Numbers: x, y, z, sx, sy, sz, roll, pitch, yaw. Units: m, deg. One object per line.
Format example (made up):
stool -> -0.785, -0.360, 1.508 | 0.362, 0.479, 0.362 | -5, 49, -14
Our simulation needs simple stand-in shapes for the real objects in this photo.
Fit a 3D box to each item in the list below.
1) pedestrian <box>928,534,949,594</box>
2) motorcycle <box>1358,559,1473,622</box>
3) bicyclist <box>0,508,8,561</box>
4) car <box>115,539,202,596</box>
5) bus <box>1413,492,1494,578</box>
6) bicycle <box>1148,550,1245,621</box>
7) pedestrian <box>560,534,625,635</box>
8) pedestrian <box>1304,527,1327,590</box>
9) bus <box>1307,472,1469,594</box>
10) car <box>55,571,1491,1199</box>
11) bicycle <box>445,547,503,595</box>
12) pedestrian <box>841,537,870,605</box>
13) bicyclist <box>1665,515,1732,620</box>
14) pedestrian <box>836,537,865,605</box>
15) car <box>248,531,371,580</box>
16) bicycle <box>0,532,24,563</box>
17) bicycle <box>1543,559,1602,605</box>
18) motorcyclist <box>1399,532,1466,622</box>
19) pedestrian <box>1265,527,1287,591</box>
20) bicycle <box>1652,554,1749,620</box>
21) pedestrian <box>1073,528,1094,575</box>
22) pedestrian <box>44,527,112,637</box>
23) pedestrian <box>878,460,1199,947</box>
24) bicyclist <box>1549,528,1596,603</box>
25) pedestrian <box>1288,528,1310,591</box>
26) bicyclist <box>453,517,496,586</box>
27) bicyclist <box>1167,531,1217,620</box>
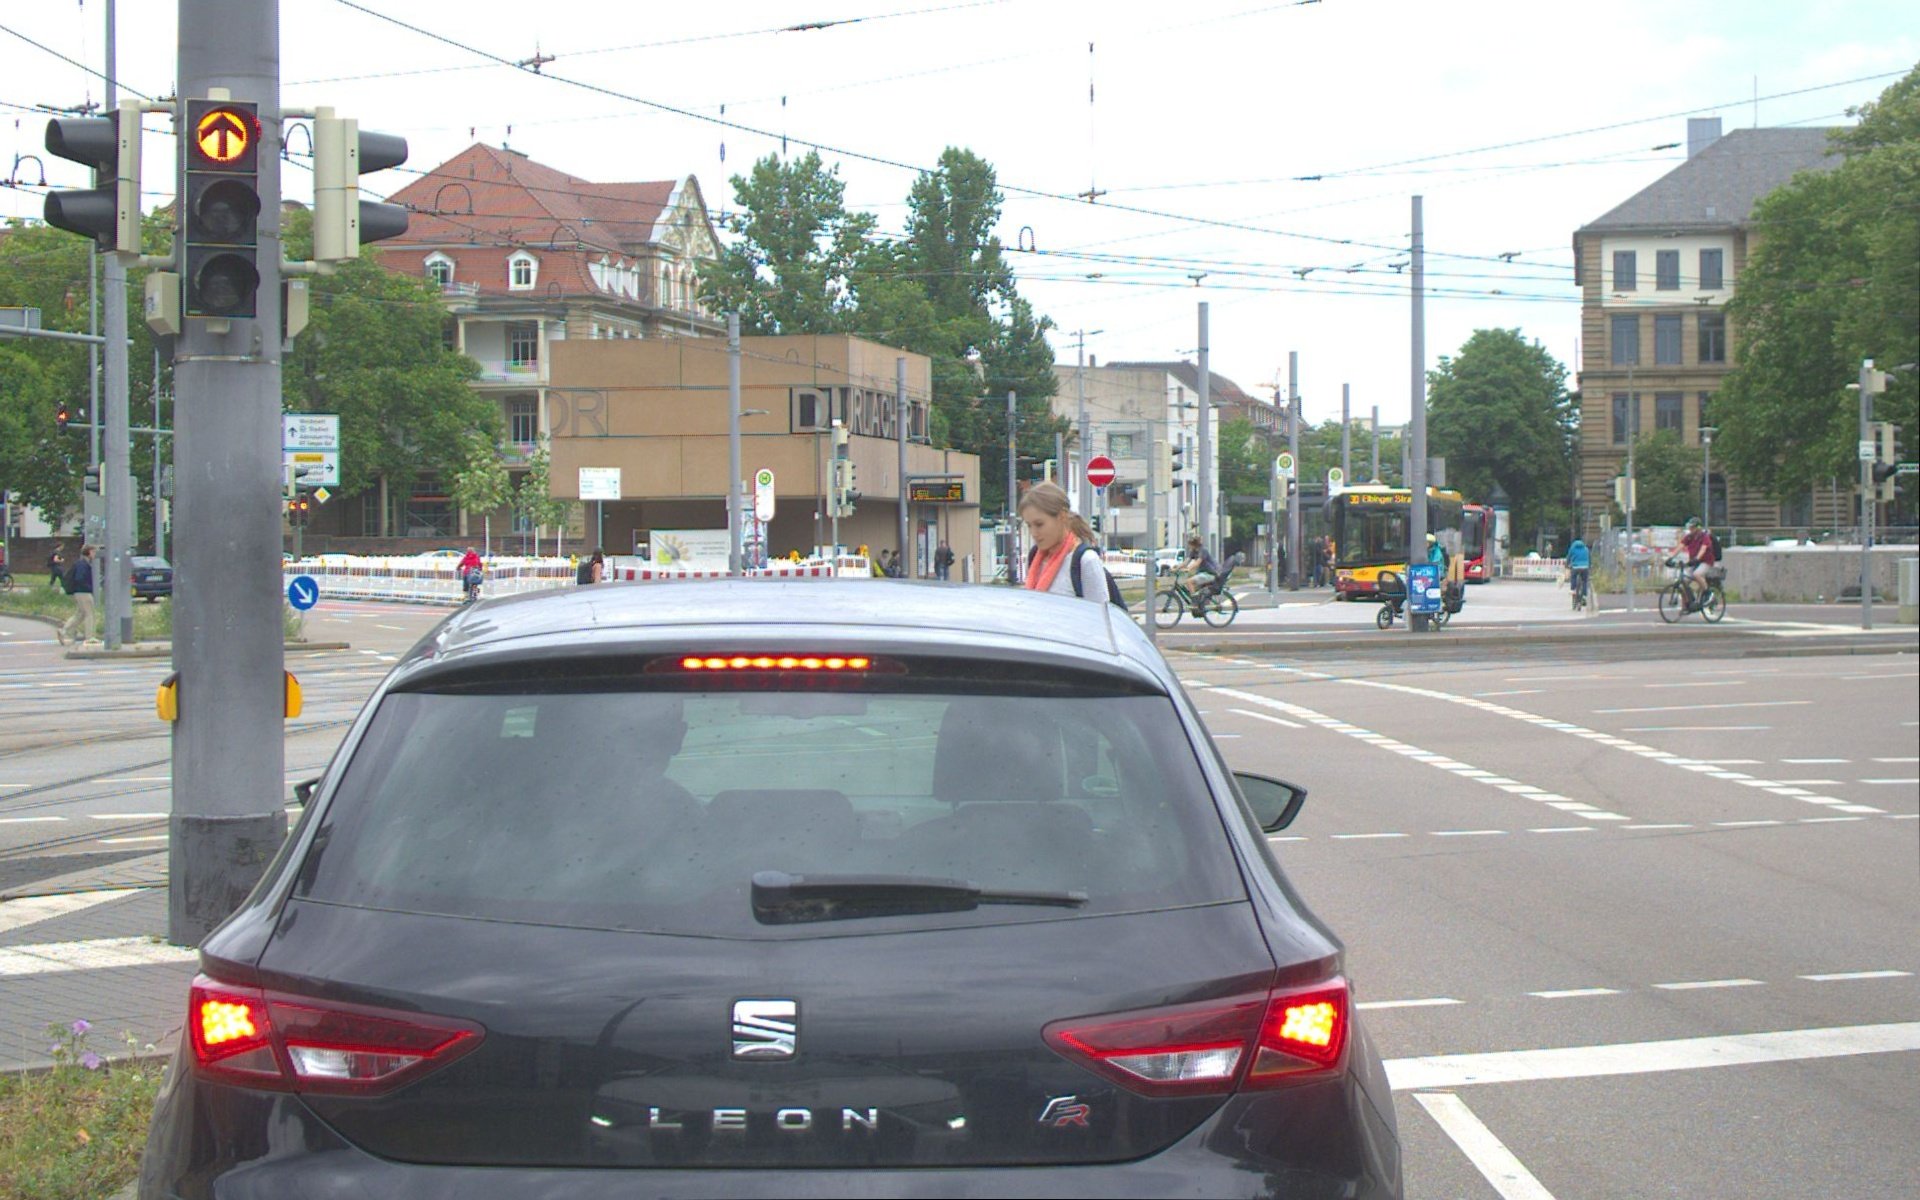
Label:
pedestrian -> -0.690, -1.163, 111.086 | 0.621, 1.911, 0.710 | 0, 1, 3
motorcycle -> 8.414, -0.181, 63.512 | 2.135, 1.135, 0.744 | -1, 1, -33
bicyclist -> -37.201, -2.515, 131.783 | 0.939, 2.007, 0.977 | 0, 1, 28
car -> -24.445, -0.982, 104.764 | 1.993, 1.678, 4.001 | 0, 0, -22
bus -> 19.669, -2.568, 136.661 | 2.655, 3.272, 10.990 | 0, 1, 11
bicycle -> 4.447, -0.275, 64.731 | 1.730, 1.317, 0.645 | 0, 1, -5
pedestrian -> -7.031, -0.303, 65.780 | 0.700, 1.927, 1.028 | 0, 1, 38
pedestrian -> 10.803, -1.256, 104.458 | 0.621, 1.911, 0.698 | 0, 1, 9
bus -> 11.760, -1.807, 93.451 | 2.962, 3.112, 11.531 | 0, 1, 14
car -> -0.357, 0.691, 5.995 | 1.704, 1.444, 3.813 | 0, 1, -4
bicycle -> -12.122, -0.724, 85.715 | 0.891, 1.174, 2.302 | 0, 1, -22
pedestrian -> -2.955, -0.815, 97.373 | 0.708, 1.911, 0.623 | 0, 1, 7
bicyclist -> 13.467, -0.598, 62.670 | 0.777, 1.891, 0.994 | 1, 1, 44
pedestrian -> -3.077, -0.817, 96.577 | 0.708, 1.911, 0.623 | 0, 1, 7
car -> -23.270, -1.592, 123.035 | 3.987, 1.678, 2.000 | -1, 0, 1
bicycle -> -37.200, -2.003, 131.795 | 0.941, 1.175, 2.725 | 0, 1, 28
bicycle -> 15.090, -0.457, 84.791 | 0.865, 1.101, 2.302 | 0, 1, -5
motorcyclist -> 8.761, -0.432, 63.748 | 0.977, 1.644, 0.750 | -1, 0, -33
pedestrian -> 9.559, -1.237, 103.987 | 0.621, 1.911, 0.698 | 0, 1, 9
bicycle -> 13.514, -0.251, 62.691 | 0.777, 1.180, 2.027 | 1, 1, 44
pedestrian -> 5.127, -1.998, 142.213 | 0.622, 1.911, 0.709 | -1, 0, 25
pedestrian -> -15.580, -0.324, 60.695 | 1.027, 1.927, 0.701 | -1, 1, -25
pedestrian -> 0.326, 0.400, 14.057 | 1.101, 1.900, 0.735 | 0, 0, -43
bicyclist -> 15.086, -0.857, 84.678 | 0.871, 1.845, 1.048 | 0, 1, -6
pedestrian -> 10.397, -1.250, 105.528 | 0.621, 1.911, 0.710 | 0, 1, 3
bicyclist -> -12.098, -1.212, 85.644 | 0.882, 1.726, 0.894 | 0, 1, -22
bicyclist -> 4.367, -0.469, 64.721 | 0.854, 1.667, 0.654 | 0, 1, -5
